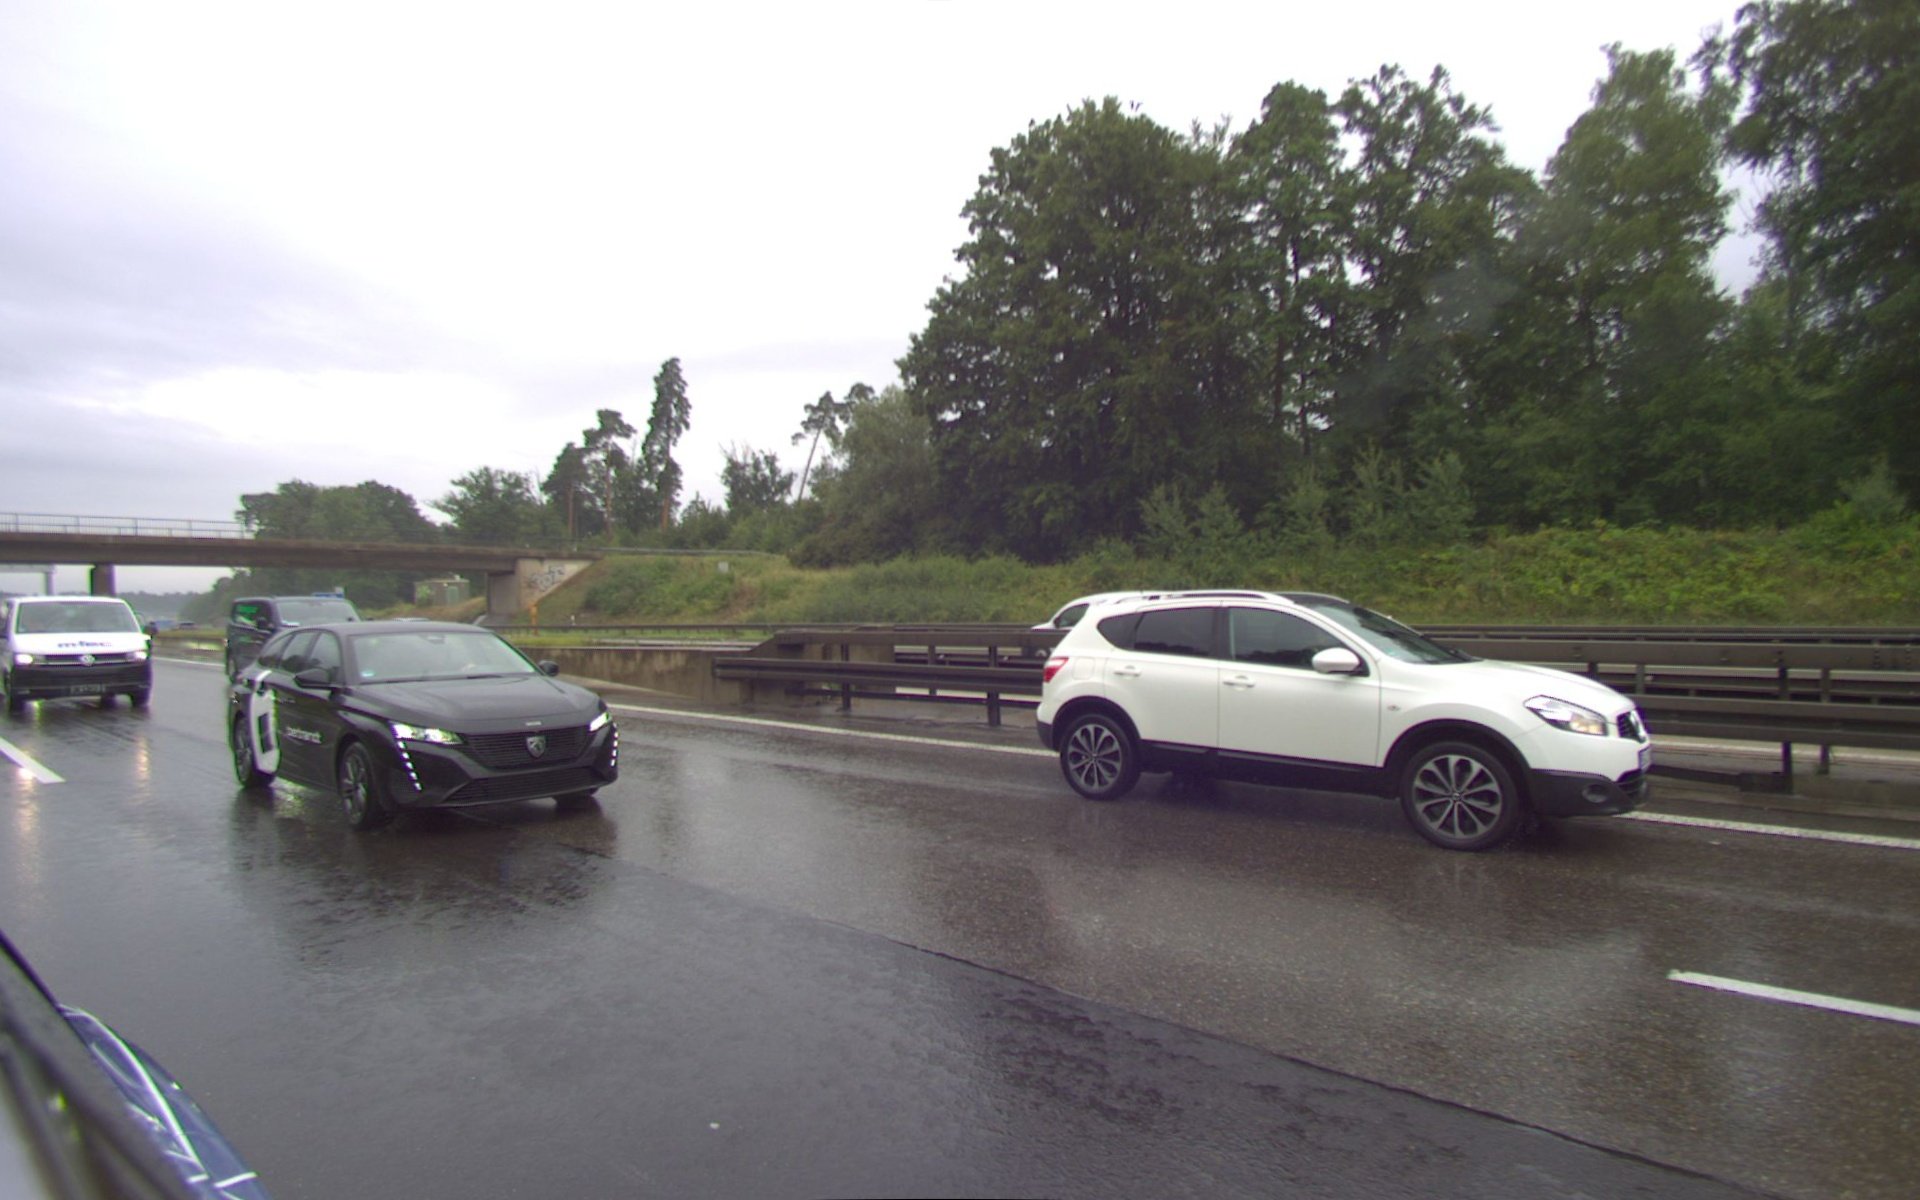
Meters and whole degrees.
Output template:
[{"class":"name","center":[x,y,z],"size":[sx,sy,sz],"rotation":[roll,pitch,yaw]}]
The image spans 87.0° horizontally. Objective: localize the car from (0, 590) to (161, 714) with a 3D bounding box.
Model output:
[{"class":"car","center":[-15.868,0.843,17.915],"size":[4.766,1.894,1.968],"rotation":[-2,-1,42]}]

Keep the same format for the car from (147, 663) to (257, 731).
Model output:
[{"class":"car","center":[-25.243,3.149,33.661],"size":[4.755,1.877,1.891],"rotation":[-1,0,40]}]

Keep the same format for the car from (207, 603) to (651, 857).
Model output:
[{"class":"car","center":[-4.545,0.833,8.311],"size":[4.466,1.516,1.826],"rotation":[-2,-1,42]}]

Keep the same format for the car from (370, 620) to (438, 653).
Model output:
[{"class":"car","center":[-27.381,1.792,49.746],"size":[1.814,1.509,4.612],"rotation":[-1,-1,-44]}]

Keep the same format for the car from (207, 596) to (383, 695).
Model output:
[{"class":"car","center":[-14.786,0.928,22.370],"size":[5.240,1.958,1.970],"rotation":[-1,-1,42]}]

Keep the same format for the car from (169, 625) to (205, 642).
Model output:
[{"class":"car","center":[-67.150,2.862,87.851],"size":[3.950,1.401,1.699],"rotation":[-2,-1,40]}]

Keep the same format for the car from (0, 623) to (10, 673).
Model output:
[{"class":"car","center":[-31.369,1.503,31.829],"size":[4.466,1.516,1.826],"rotation":[-1,-1,42]}]

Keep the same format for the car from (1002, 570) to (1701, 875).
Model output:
[{"class":"car","center":[2.637,0.684,7.481],"size":[4.463,1.603,1.827],"rotation":[-2,-1,40]}]

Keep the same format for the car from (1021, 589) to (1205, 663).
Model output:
[{"class":"car","center":[3.604,0.608,24.260],"size":[3.999,1.608,1.840],"rotation":[-1,-1,42]}]
